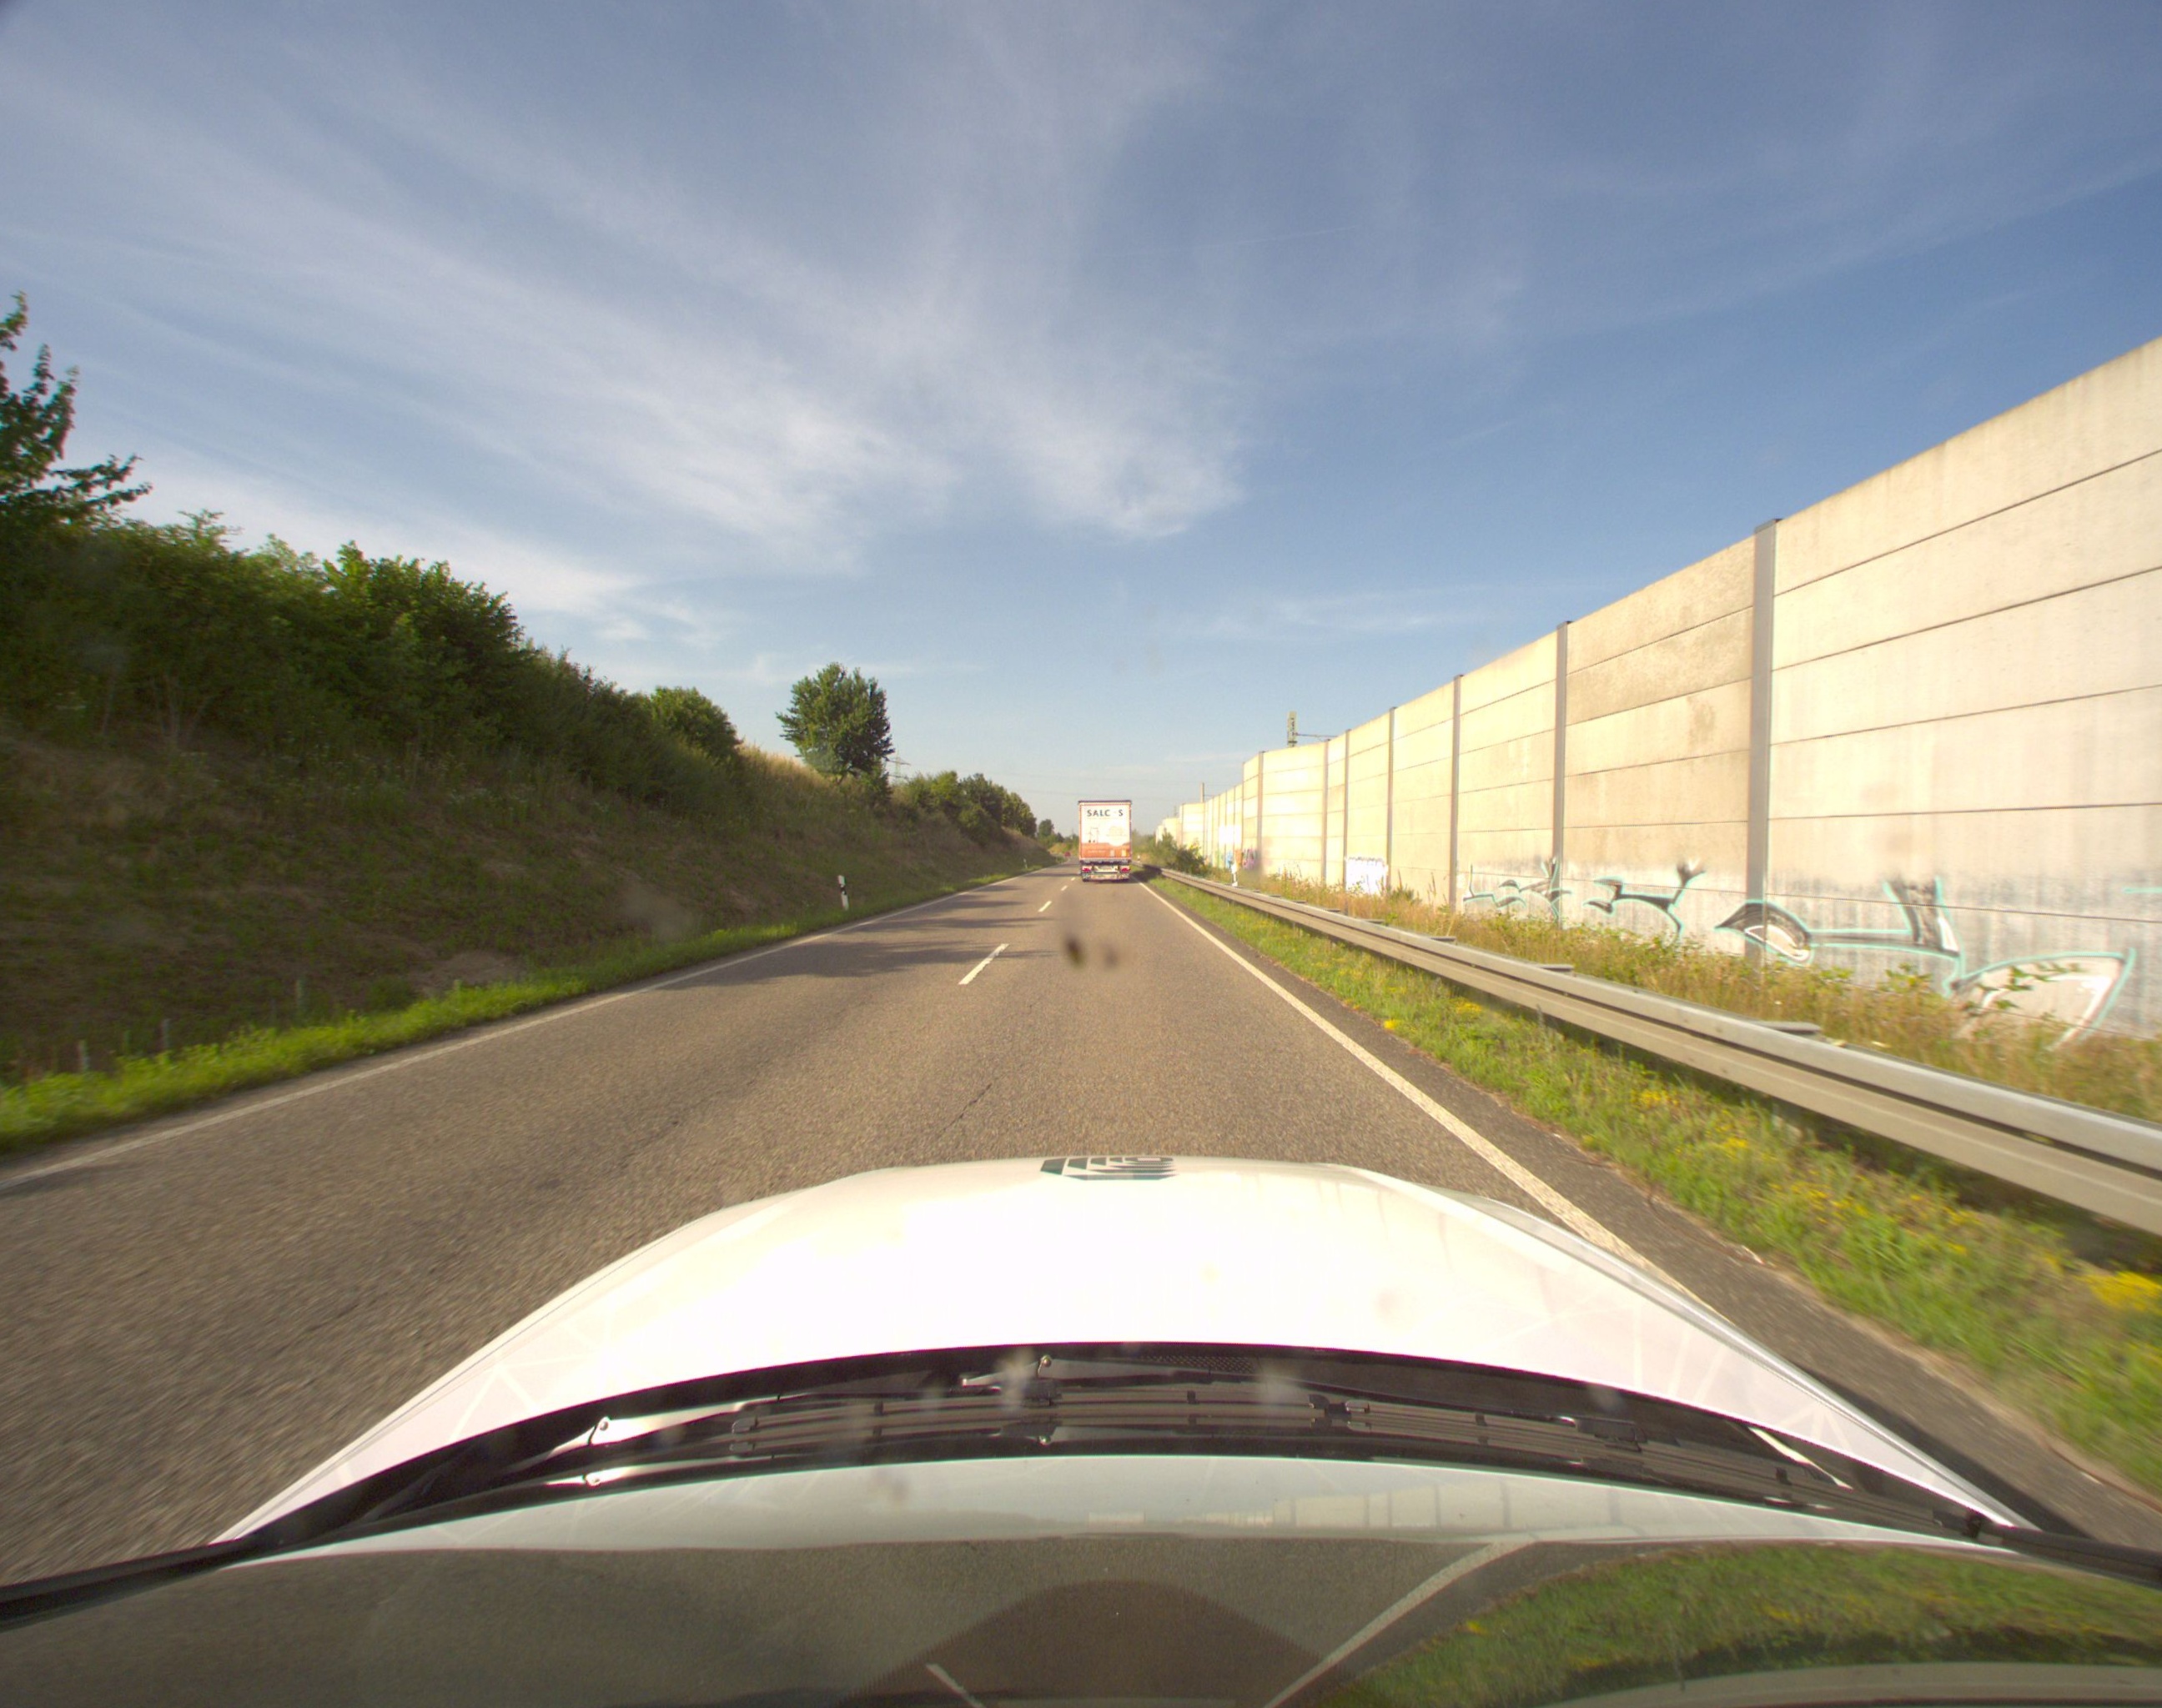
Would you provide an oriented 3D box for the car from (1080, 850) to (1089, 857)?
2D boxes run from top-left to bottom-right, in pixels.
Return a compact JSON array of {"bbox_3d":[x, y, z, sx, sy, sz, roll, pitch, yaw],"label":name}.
[{"bbox_3d":[0.875,-0.091,202.736,2.039,1.581,4.361,-1,0,1],"label":"car"}]

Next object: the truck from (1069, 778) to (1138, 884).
[{"bbox_3d":[1.052,-1.194,45.340,3.280,5.089,12.035,0,1,0],"label":"truck"}]
